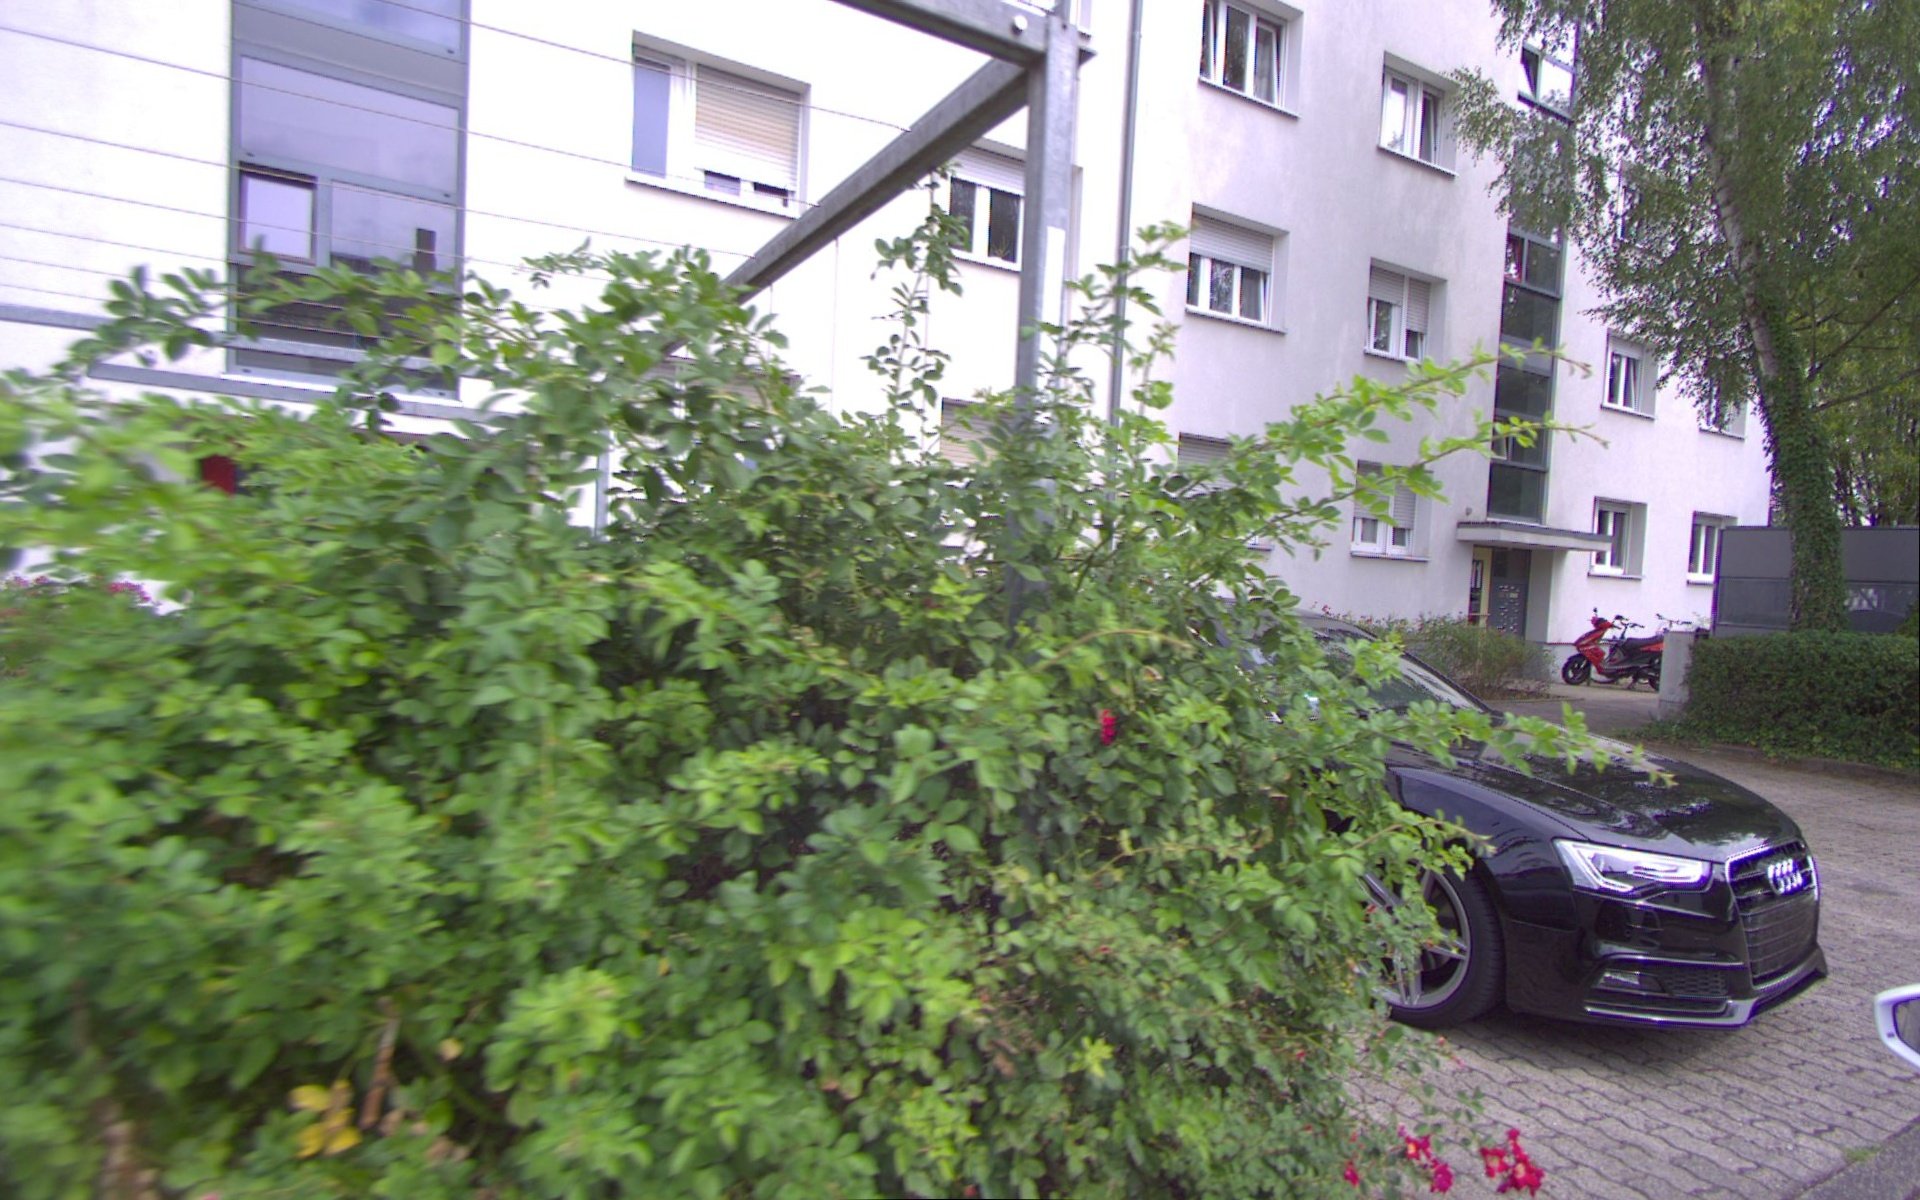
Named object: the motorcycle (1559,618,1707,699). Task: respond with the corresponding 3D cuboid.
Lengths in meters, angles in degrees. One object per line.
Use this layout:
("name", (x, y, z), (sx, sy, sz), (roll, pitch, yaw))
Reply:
("motorcycle", (10.784, 0.908, 16.182), (1.864, 1.138, 0.676), (3, 1, 27))

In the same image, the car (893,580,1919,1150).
("car", (1.591, 0.694, 4.984), (1.903, 1.394, 4.296), (2, 2, -34))

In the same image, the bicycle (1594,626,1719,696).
("bicycle", (11.595, 0.990, 16.781), (1.638, 1.017, 0.576), (3, 1, 32))
